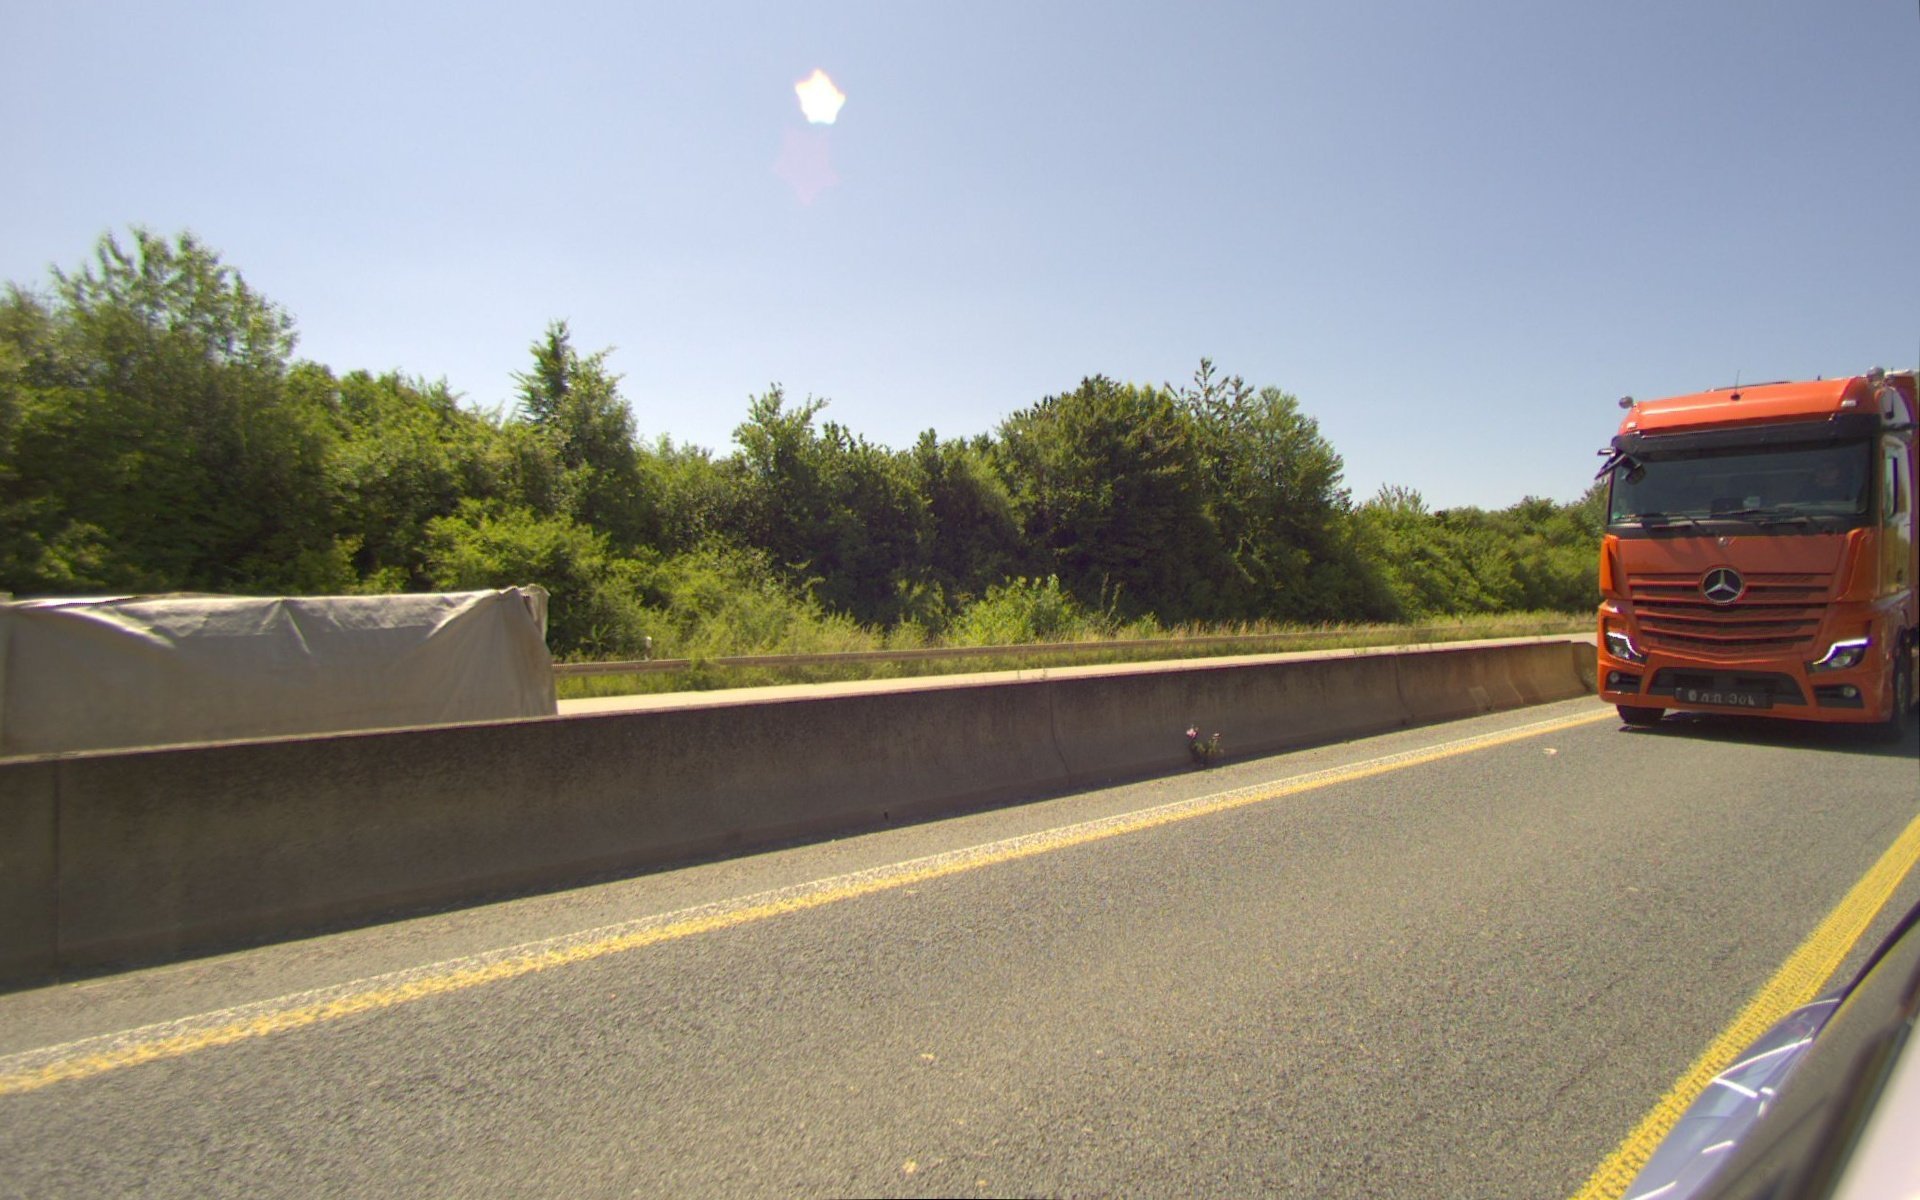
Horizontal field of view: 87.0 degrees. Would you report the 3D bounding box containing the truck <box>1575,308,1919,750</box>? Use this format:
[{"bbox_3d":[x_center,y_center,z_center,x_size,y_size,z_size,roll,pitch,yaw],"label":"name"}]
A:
[{"bbox_3d":[10.291,-0.703,12.475,6.607,4.060,2.687,-1,0,-40],"label":"truck"}]

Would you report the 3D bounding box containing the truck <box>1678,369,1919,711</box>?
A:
[{"bbox_3d":[15.613,-0.798,17.096,12.989,4.060,2.687,-1,0,-41],"label":"truck"}]
